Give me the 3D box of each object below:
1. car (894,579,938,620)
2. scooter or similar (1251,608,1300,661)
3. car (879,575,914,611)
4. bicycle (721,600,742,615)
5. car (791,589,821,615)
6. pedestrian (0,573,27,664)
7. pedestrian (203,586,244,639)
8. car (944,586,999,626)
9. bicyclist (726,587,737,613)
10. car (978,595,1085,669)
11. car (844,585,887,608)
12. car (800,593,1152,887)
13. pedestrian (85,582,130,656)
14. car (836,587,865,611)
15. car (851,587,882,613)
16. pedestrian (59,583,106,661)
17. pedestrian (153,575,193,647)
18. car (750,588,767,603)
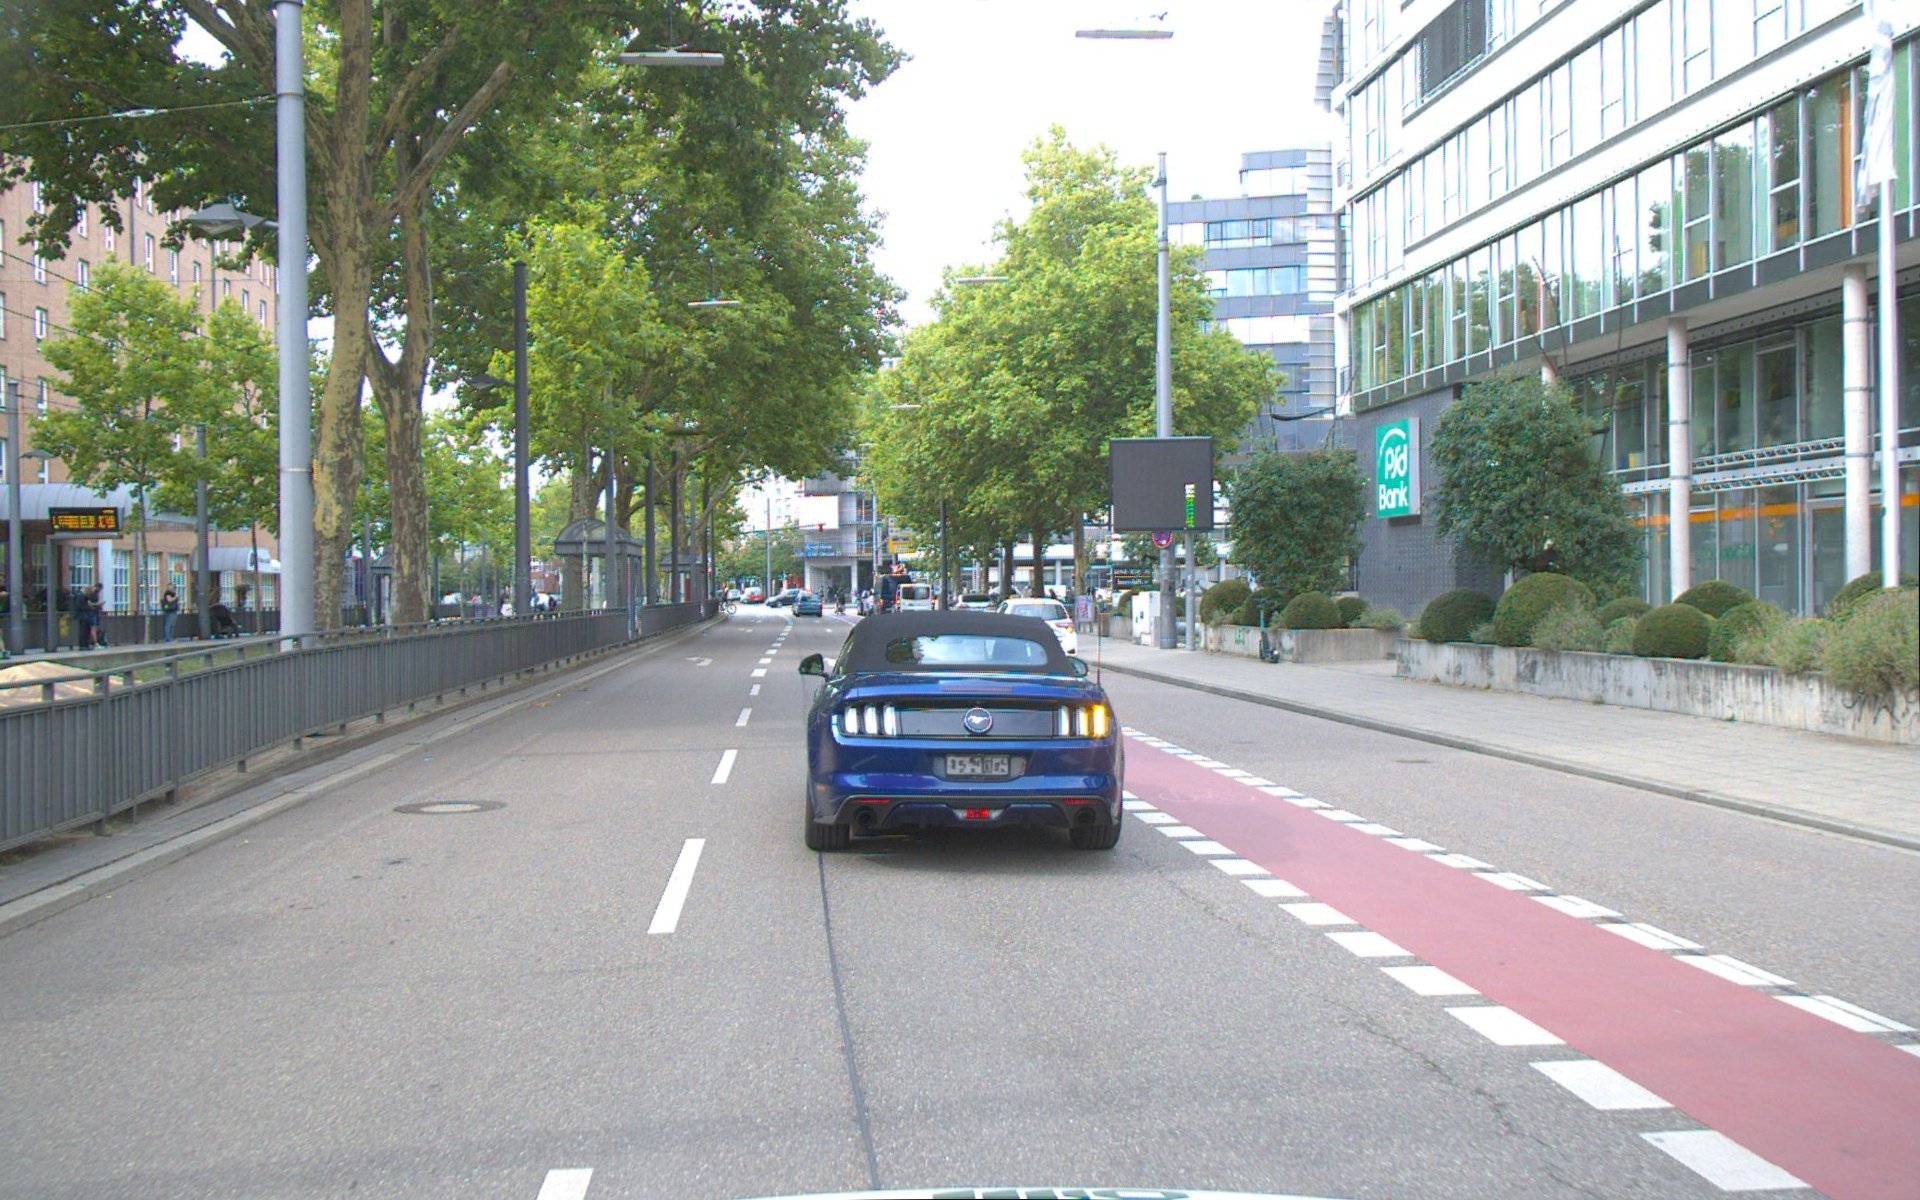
[{"bbox_3d":[-2.170,-0.036,80.498,1.853,1.936,4.125,-1,0,-5],"label":"car"},{"bbox_3d":[6.206,0.663,32.606,0.575,0.967,1.859,-1,0,-1],"label":"scooter or similar"},{"bbox_3d":[-3.603,-0.413,93.307,1.799,1.936,4.171,-1,0,-5],"label":"car"},{"bbox_3d":[-15.579,0.509,112.745,1.379,0.947,0.511,-1,0,-6],"label":"bicycle"},{"bbox_3d":[-9.524,0.094,102.589,1.799,1.574,4.210,-1,0,-5],"label":"car"},{"bbox_3d":[-20.370,0.393,35.042,0.800,1.920,0.783,-1,0,-10],"label":"pedestrian"},{"bbox_3d":[-23.464,0.389,52.728,0.976,1.628,0.849,-1,0,-9],"label":"pedestrian"},{"bbox_3d":[0.457,0.237,71.153,1.844,1.609,4.319,-1,1,-6],"label":"car"},{"bbox_3d":[-15.569,0.004,112.737,0.658,1.761,0.511,-1,0,-6],"label":"bicyclist"},{"bbox_3d":[1.497,0.651,36.122,1.799,1.464,4.183,-1,0,-5],"label":"car"},{"bbox_3d":[-8.712,-0.348,152.501,3.906,2.049,2.000,-1,0,-1],"label":"car"},{"bbox_3d":[-0.059,0.723,10.853,1.839,1.428,4.279,-1,1,-4],"label":"car"},{"bbox_3d":[-22.730,0.499,44.111,0.800,1.920,0.783,-1,0,-10],"label":"pedestrian"},{"bbox_3d":[-7.235,-0.092,109.414,1.799,1.547,4.171,-1,0,-5],"label":"car"},{"bbox_3d":[-5.842,-0.031,102.635,1.799,1.547,4.171,-1,0,-5],"label":"car"},{"bbox_3d":[-22.040,0.546,41.549,0.800,1.920,0.783,-1,0,-10],"label":"pedestrian"},{"bbox_3d":[-22.604,0.302,47.529,0.800,2.028,0.783,-1,0,-9],"label":"pedestrian"},{"bbox_3d":[-22.654,-0.526,186.107,1.799,1.547,4.171,-1,0,-5],"label":"car"}]
